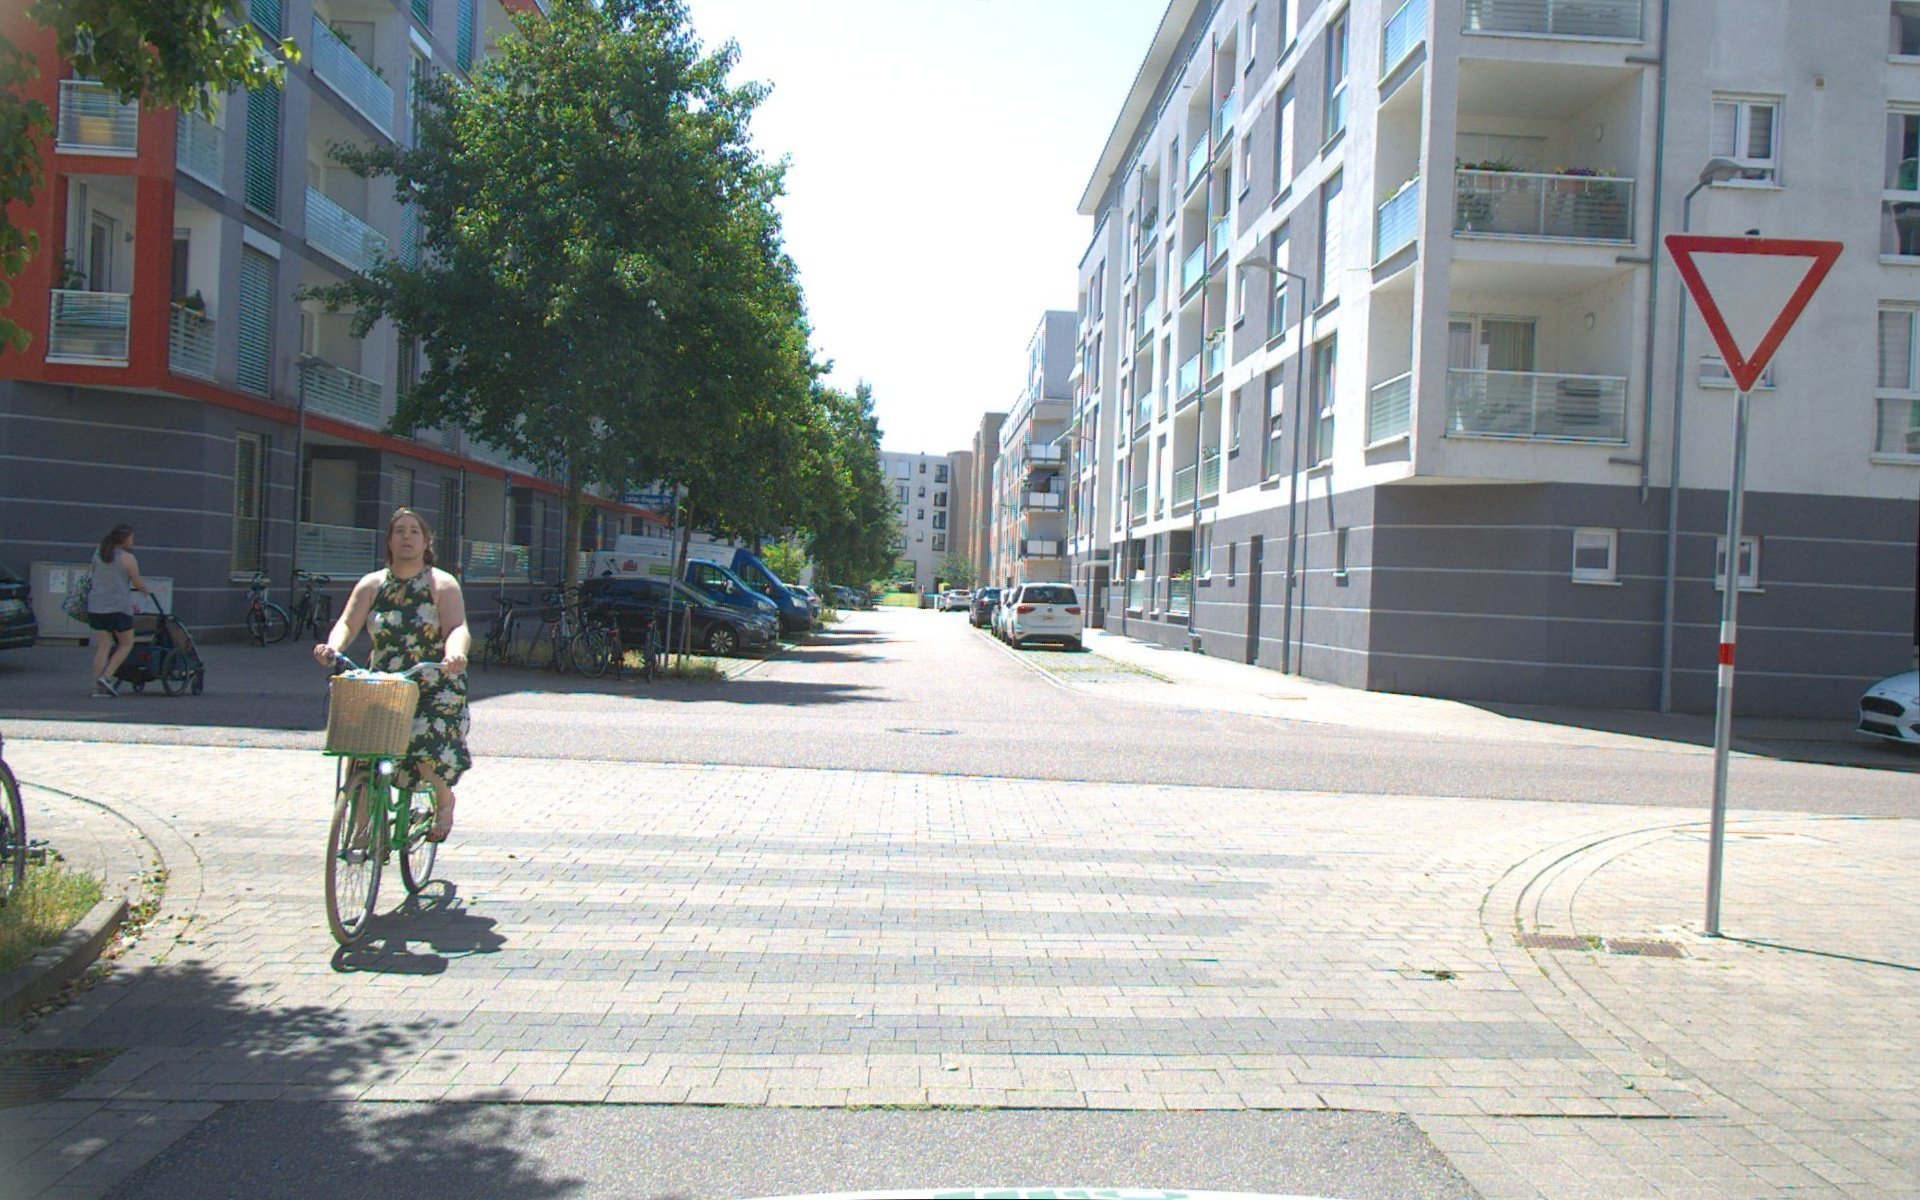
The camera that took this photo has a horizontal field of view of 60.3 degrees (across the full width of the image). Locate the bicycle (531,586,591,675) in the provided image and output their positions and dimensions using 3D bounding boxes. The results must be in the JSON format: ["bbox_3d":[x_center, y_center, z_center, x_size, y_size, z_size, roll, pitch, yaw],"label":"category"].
[{"bbox_3d":[-5.990,0.431,24.907,0.508,1.224,1.751,3,1,-4],"label":"bicycle"}]

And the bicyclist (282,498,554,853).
[{"bbox_3d":[-2.411,0.321,7.461,0.934,1.485,0.799,2,0,-3],"label":"bicyclist"}]

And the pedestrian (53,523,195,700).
[{"bbox_3d":[-8.462,0.115,16.780,0.980,1.720,0.832,2,0,-1],"label":"pedestrian"}]

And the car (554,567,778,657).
[{"bbox_3d":[-6.107,0.240,34.768,4.295,1.541,2.074,4,0,-2],"label":"car"}]

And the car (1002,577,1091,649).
[{"bbox_3d":[2.148,0.302,42.245,1.957,1.686,4.114,1,0,-1],"label":"car"}]

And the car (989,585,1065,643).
[{"bbox_3d":[1.898,0.368,47.939,1.953,1.551,3.999,1,0,-1],"label":"car"}]

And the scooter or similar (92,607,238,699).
[{"bbox_3d":[-8.477,0.554,17.684,1.046,0.904,1.018,2,0,-1],"label":"scooter or similar"}]

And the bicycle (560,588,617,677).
[{"bbox_3d":[-5.528,0.461,24.670,0.425,1.224,1.699,3,1,-1],"label":"bicycle"}]

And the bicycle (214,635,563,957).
[{"bbox_3d":[-2.438,0.777,7.373,0.880,1.149,2.039,2,0,-2],"label":"bicycle"}]

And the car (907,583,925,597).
[{"bbox_3d":[-5.156,-1.195,194.111,1.954,1.545,3.998,2,0,-3],"label":"car"}]

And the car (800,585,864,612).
[{"bbox_3d":[-8.417,-0.121,108.770,3.903,1.630,2.001,2,0,4],"label":"car"}]

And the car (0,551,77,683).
[{"bbox_3d":[-12.926,0.100,18.968,4.482,1.407,1.936,2,2,-5],"label":"car"}]

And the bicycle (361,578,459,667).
[{"bbox_3d":[-8.102,0.303,24.460,0.675,1.190,2.222,4,1,-1],"label":"bicycle"}]

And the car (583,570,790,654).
[{"bbox_3d":[-6.113,0.250,37.319,4.295,1.568,1.878,4,0,-2],"label":"car"}]

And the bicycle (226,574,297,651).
[{"bbox_3d":[-10.841,0.173,25.741,0.596,1.126,2.100,2,0,-12],"label":"bicycle"}]

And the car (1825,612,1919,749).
[{"bbox_3d":[12.994,1.013,20.207,3.908,1.495,1.755,2,3,-3],"label":"car"}]

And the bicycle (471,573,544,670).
[{"bbox_3d":[-6.731,0.297,24.674,0.581,1.354,1.812,2,1,-1],"label":"bicycle"}]

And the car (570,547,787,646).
[{"bbox_3d":[-7.061,-0.099,41.922,5.042,2.156,2.311,3,1,-2],"label":"car"}]

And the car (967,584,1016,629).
[{"bbox_3d":[1.199,0.226,62.327,1.721,1.579,4.001,3,0,1],"label":"car"}]

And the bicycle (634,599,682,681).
[{"bbox_3d":[-4.534,0.582,24.917,0.456,1.161,1.925,2,0,-4],"label":"bicycle"}]

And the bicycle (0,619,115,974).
[{"bbox_3d":[-3.640,0.698,6.239,0.364,1.201,1.814,1,0,-13],"label":"bicycle"}]

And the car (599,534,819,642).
[{"bbox_3d":[-7.091,-0.350,47.352,5.902,2.865,2.604,1,0,-2],"label":"car"}]

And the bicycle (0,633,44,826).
[{"bbox_3d":[-5.356,0.681,8.280,0.522,1.007,1.677,4,0,0],"label":"bicycle"}]

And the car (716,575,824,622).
[{"bbox_3d":[-7.394,-0.059,64.551,3.905,1.646,2.000,2,0,0],"label":"car"}]

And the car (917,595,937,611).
[{"bbox_3d":[-3.469,0.339,173.295,1.953,1.545,4.000,2,0,0],"label":"car"}]

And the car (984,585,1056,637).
[{"bbox_3d":[1.867,0.332,52.768,1.954,1.551,3.998,1,0,-3],"label":"car"}]

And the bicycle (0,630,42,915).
[{"bbox_3d":[-3.994,0.716,6.199,0.426,1.147,1.972,1,0,-13],"label":"bicycle"}]

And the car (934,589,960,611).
[{"bbox_3d":[-1.128,-0.004,138.050,1.954,1.747,3.998,2,0,-3],"label":"car"}]

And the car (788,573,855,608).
[{"bbox_3d":[-8.868,-0.626,106.148,3.903,2.049,2.001,2,0,5],"label":"car"}]

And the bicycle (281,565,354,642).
[{"bbox_3d":[-10.994,0.042,28.363,0.540,1.261,1.924,1,0,-2],"label":"bicycle"}]

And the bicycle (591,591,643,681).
[{"bbox_3d":[-5.105,0.508,24.678,0.560,1.194,1.765,5,1,-9],"label":"bicycle"}]

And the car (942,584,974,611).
[{"bbox_3d":[-0.158,-0.188,110.847,1.954,1.704,3.998,2,0,-3],"label":"car"}]

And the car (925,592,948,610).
[{"bbox_3d":[-2.141,0.119,152.084,1.954,1.545,3.998,2,0,-3],"label":"car"}]
